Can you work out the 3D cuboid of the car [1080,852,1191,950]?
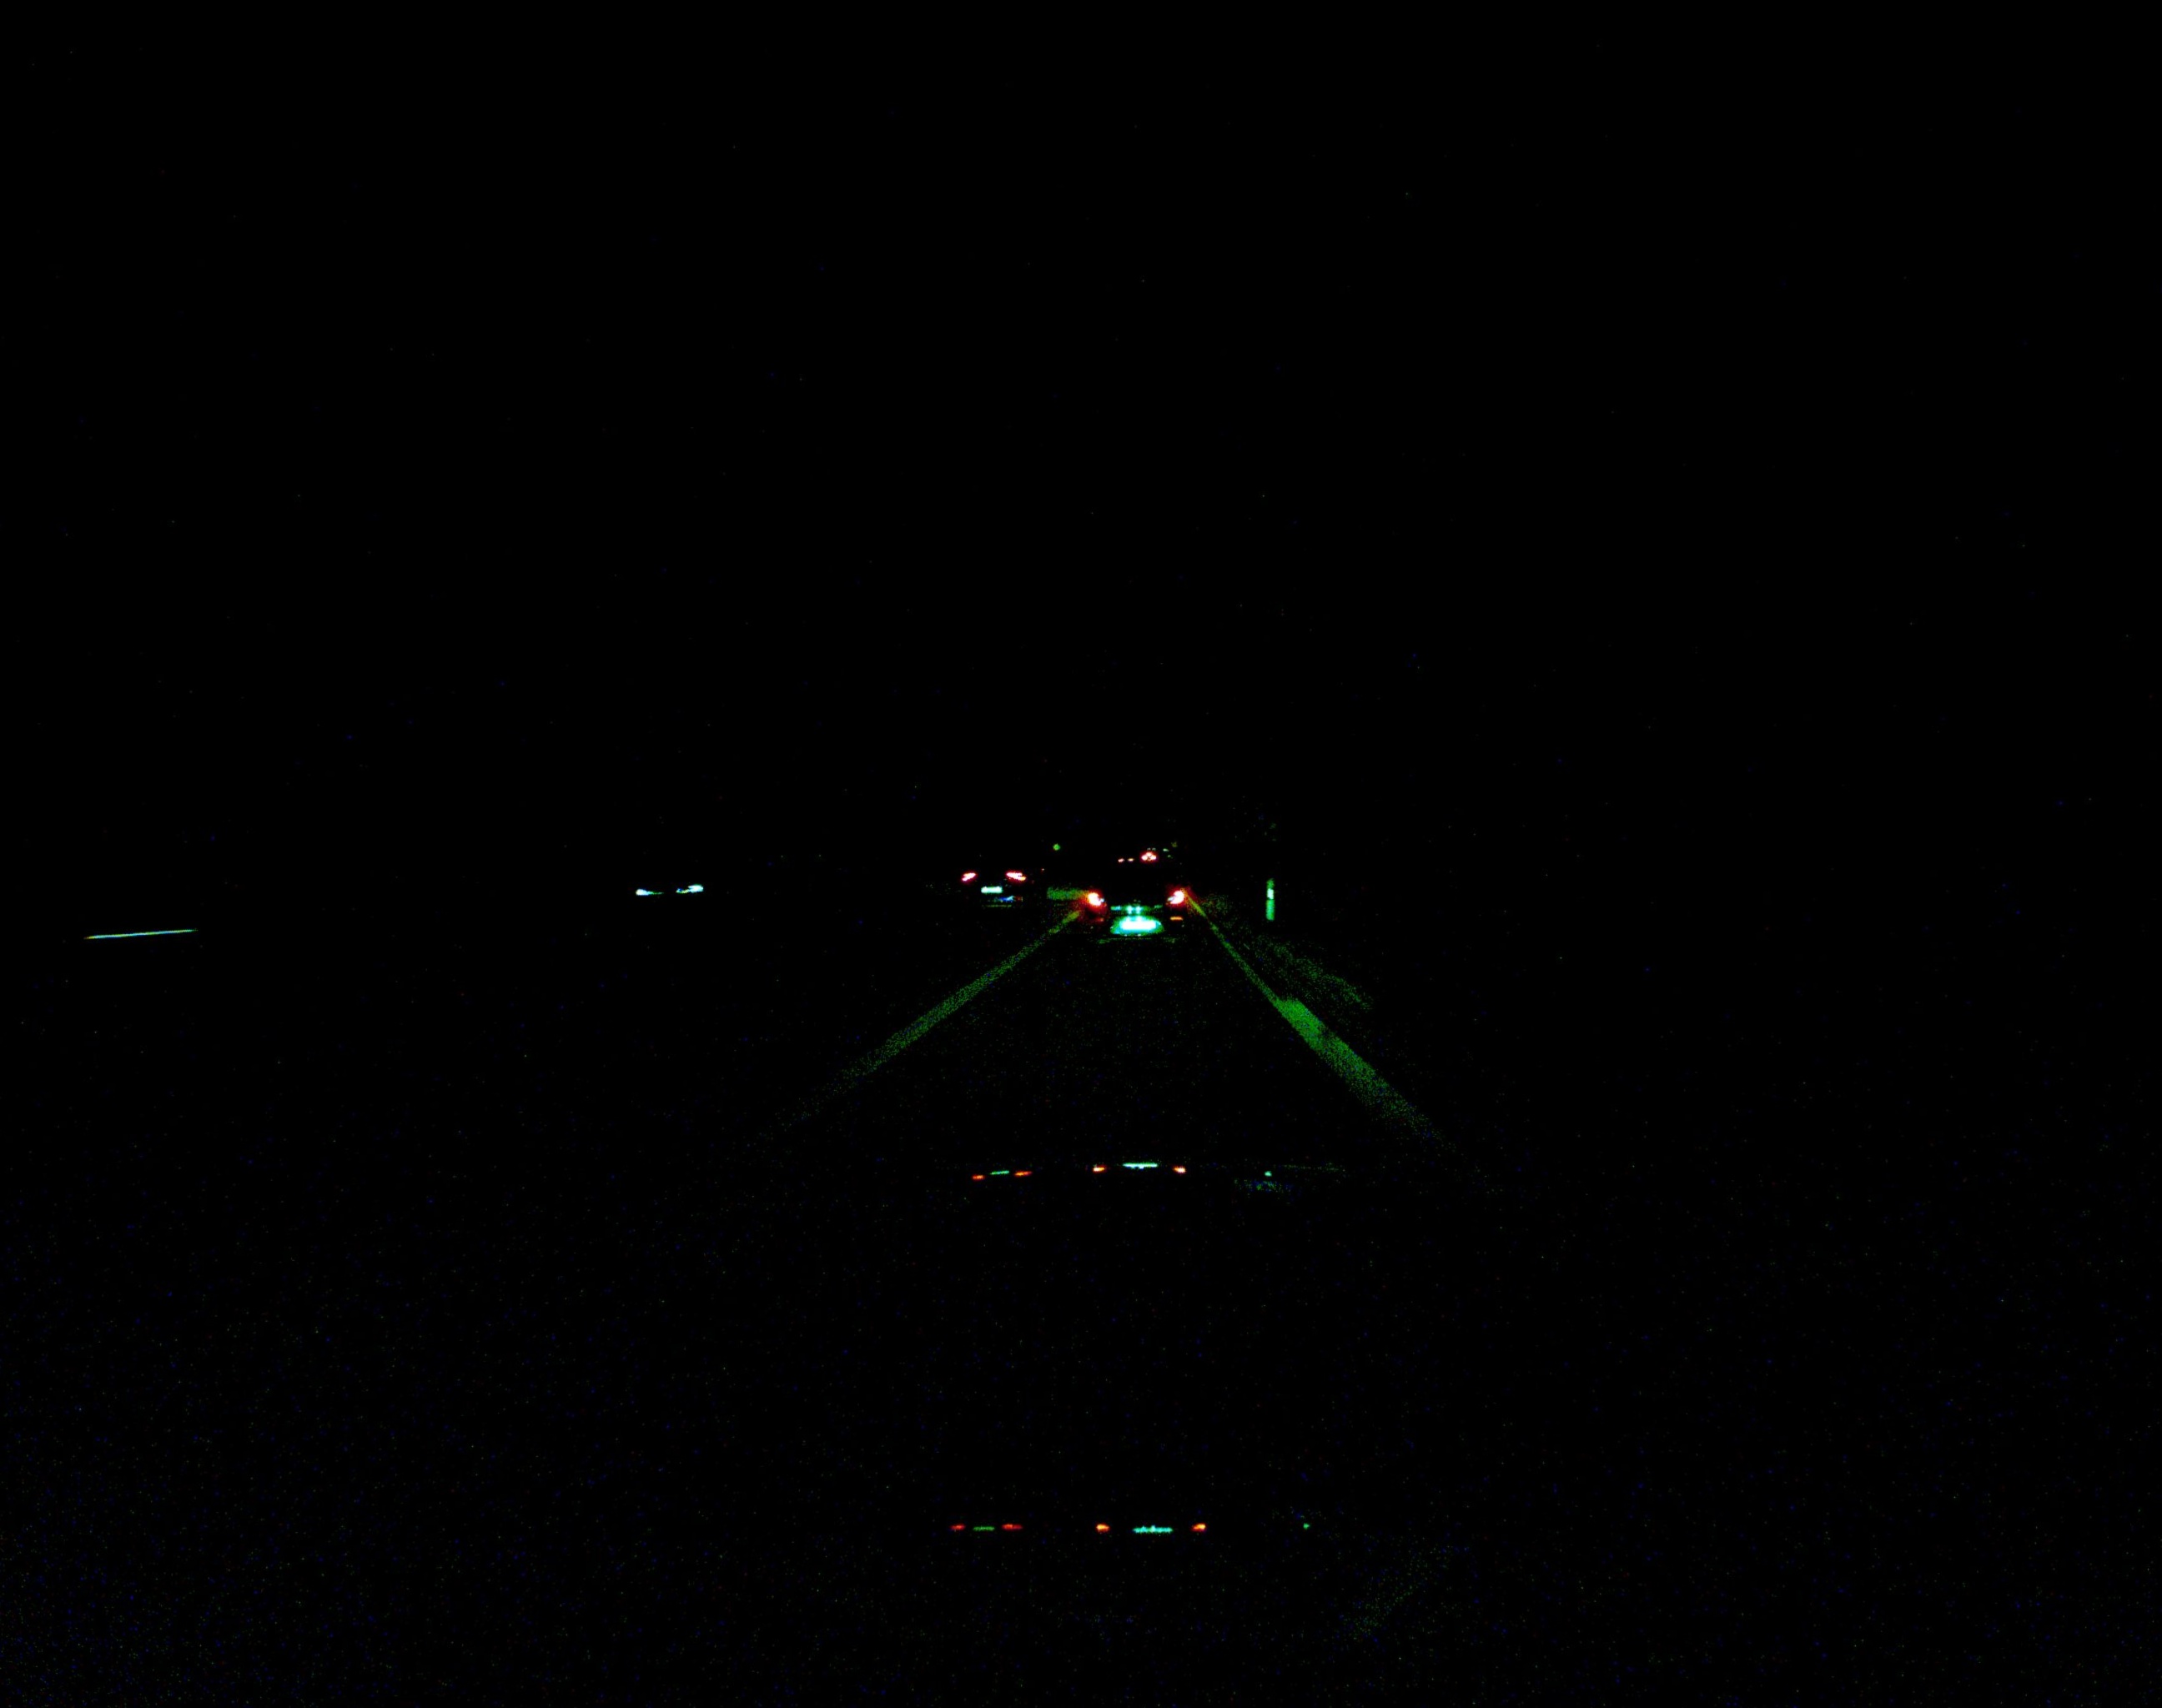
[{"bbox_3d":[0.875,0.736,14.416,1.685,1.478,4.000,0,-1,1],"label":"car"}]

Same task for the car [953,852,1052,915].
[{"bbox_3d":[-2.089,0.752,23.061,1.931,1.608,4.650,0,0,5],"label":"car"}]

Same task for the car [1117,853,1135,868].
[{"bbox_3d":[5.347,0.827,97.062,1.943,1.538,4.245,-5,-2,4],"label":"car"}]

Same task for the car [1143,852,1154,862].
[{"bbox_3d":[10.852,0.500,131.465,1.726,1.618,3.802,-1,0,4],"label":"car"}]

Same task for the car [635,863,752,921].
[{"bbox_3d":[-14.604,1.367,31.038,1.984,2.014,4.614,-1,-1,4],"label":"car"}]

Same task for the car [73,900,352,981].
[{"bbox_3d":[-19.711,1.907,18.795,1.984,1.519,4.004,-1,-2,4],"label":"car"}]
